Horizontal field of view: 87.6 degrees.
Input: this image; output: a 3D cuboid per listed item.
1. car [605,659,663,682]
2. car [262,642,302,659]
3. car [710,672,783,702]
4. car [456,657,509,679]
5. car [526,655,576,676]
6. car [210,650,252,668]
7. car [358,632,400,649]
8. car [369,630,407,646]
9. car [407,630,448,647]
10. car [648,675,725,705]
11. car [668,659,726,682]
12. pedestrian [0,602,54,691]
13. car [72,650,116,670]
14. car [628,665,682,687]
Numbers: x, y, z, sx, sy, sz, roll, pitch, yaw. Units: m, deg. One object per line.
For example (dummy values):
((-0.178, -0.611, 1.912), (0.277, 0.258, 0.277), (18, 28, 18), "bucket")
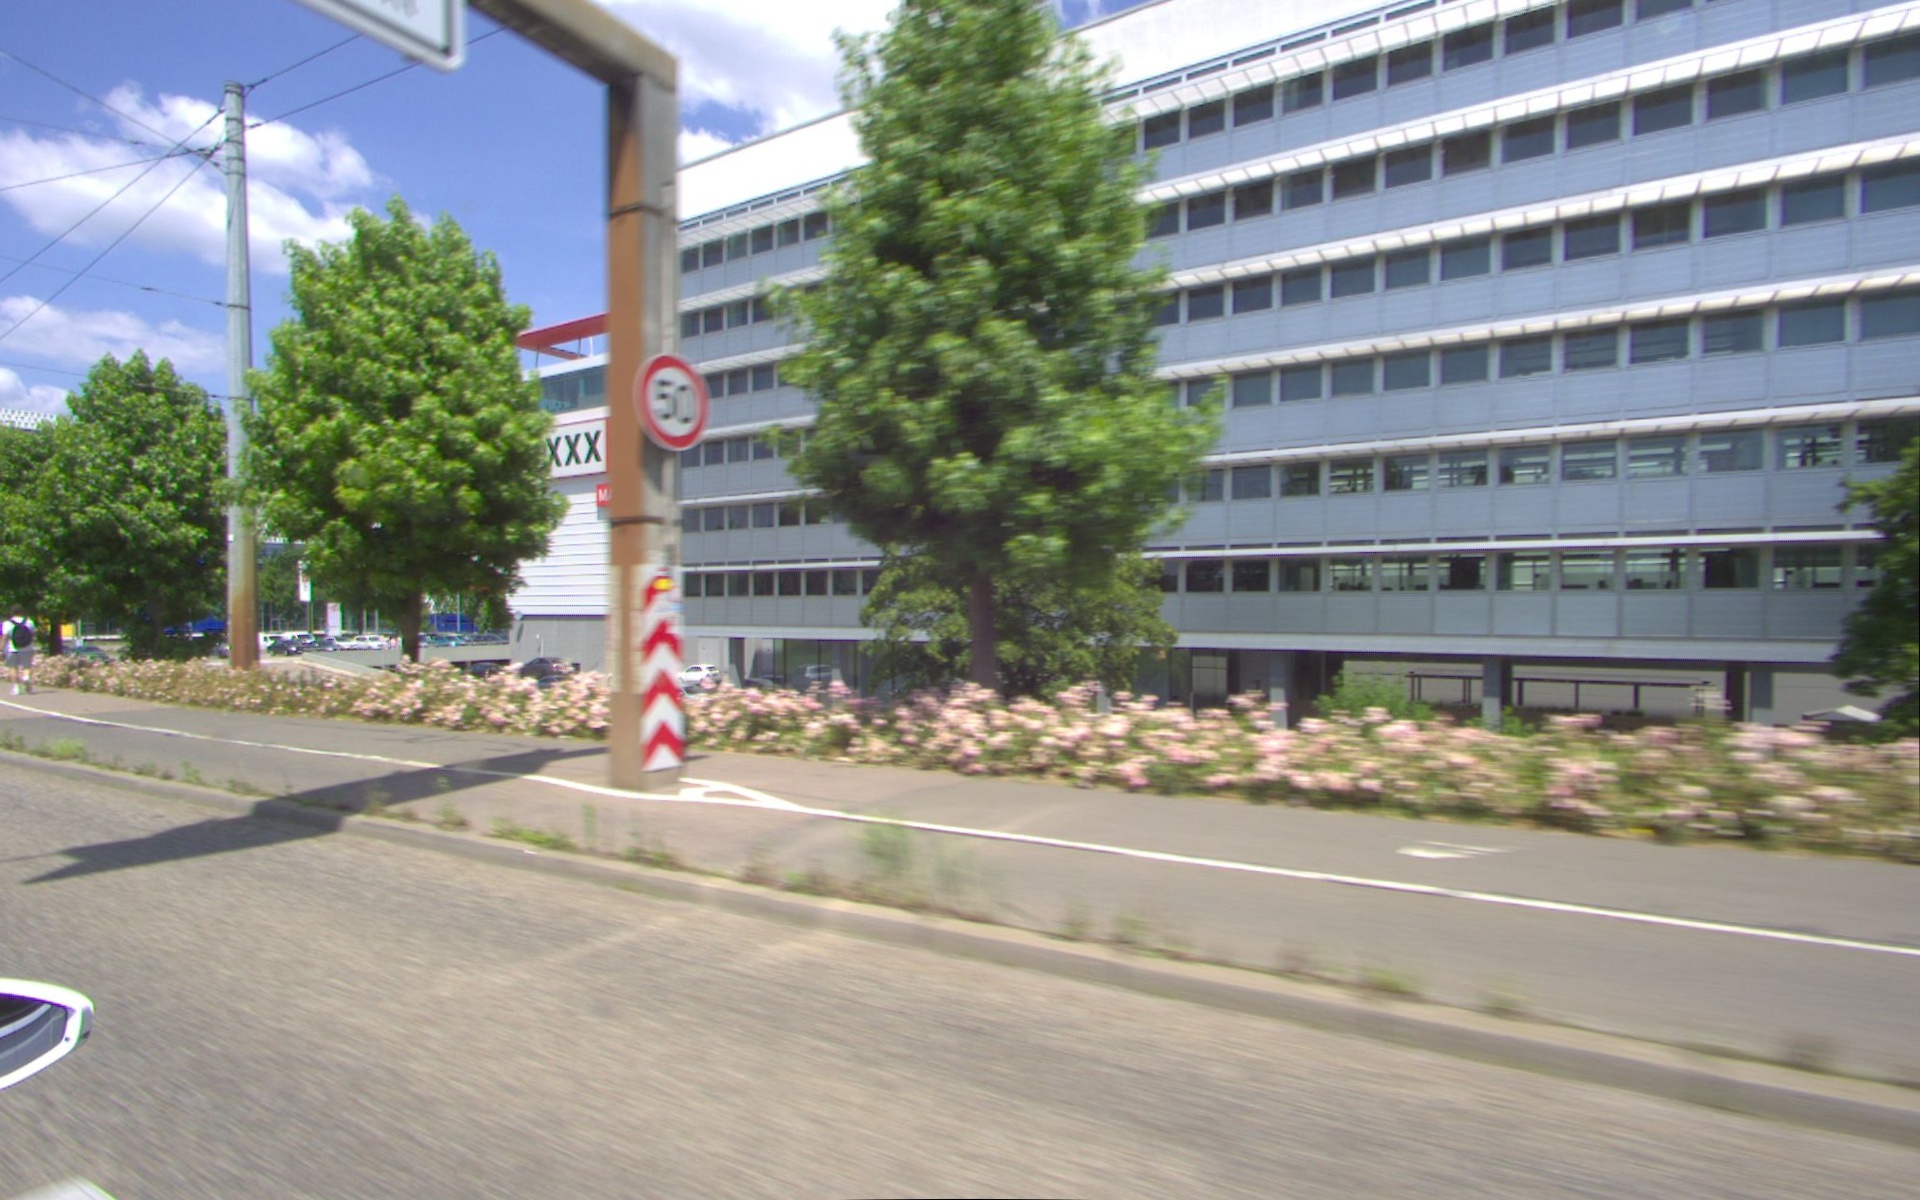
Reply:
((-23.525, 5.070, 72.220), (4.178, 1.501, 1.738), (0, -2, 32), "car")
((-62.413, 4.614, 92.192), (3.830, 1.501, 1.569), (0, -2, 30), "car")
((-12.622, 5.120, 59.172), (4.176, 1.501, 1.739), (0, -2, 30), "car")
((-35.487, 5.039, 74.421), (3.907, 1.501, 1.738), (0, -2, 32), "car")
((-31.961, 5.111, 78.237), (3.907, 1.501, 1.738), (0, -2, 32), "car")
((-64.700, 5.245, 88.864), (3.830, 1.501, 1.569), (0, -2, 30), "car")
((-51.854, 3.600, 89.391), (3.830, 1.501, 1.569), (0, -2, 30), "car")
((-56.138, 3.738, 98.283), (3.830, 1.501, 1.569), (0, -2, 30), "car")
((-49.537, 3.603, 93.111), (3.830, 1.501, 1.569), (0, -2, 30), "car")
((-15.082, 4.909, 55.128), (4.174, 1.410, 1.584), (0, -2, 29), "car")
((-19.065, 5.119, 72.590), (4.178, 1.501, 1.738), (0, -2, 32), "car")
((-19.436, 0.953, 20.816), (0.912, 1.815, 0.667), (0, -1, 34), "pedestrian")
((-69.709, 4.841, 80.594), (3.830, 1.501, 1.569), (0, -2, 30), "car")
((-22.795, 5.659, 74.788), (3.907, 1.501, 1.738), (0, -2, 32), "car")
